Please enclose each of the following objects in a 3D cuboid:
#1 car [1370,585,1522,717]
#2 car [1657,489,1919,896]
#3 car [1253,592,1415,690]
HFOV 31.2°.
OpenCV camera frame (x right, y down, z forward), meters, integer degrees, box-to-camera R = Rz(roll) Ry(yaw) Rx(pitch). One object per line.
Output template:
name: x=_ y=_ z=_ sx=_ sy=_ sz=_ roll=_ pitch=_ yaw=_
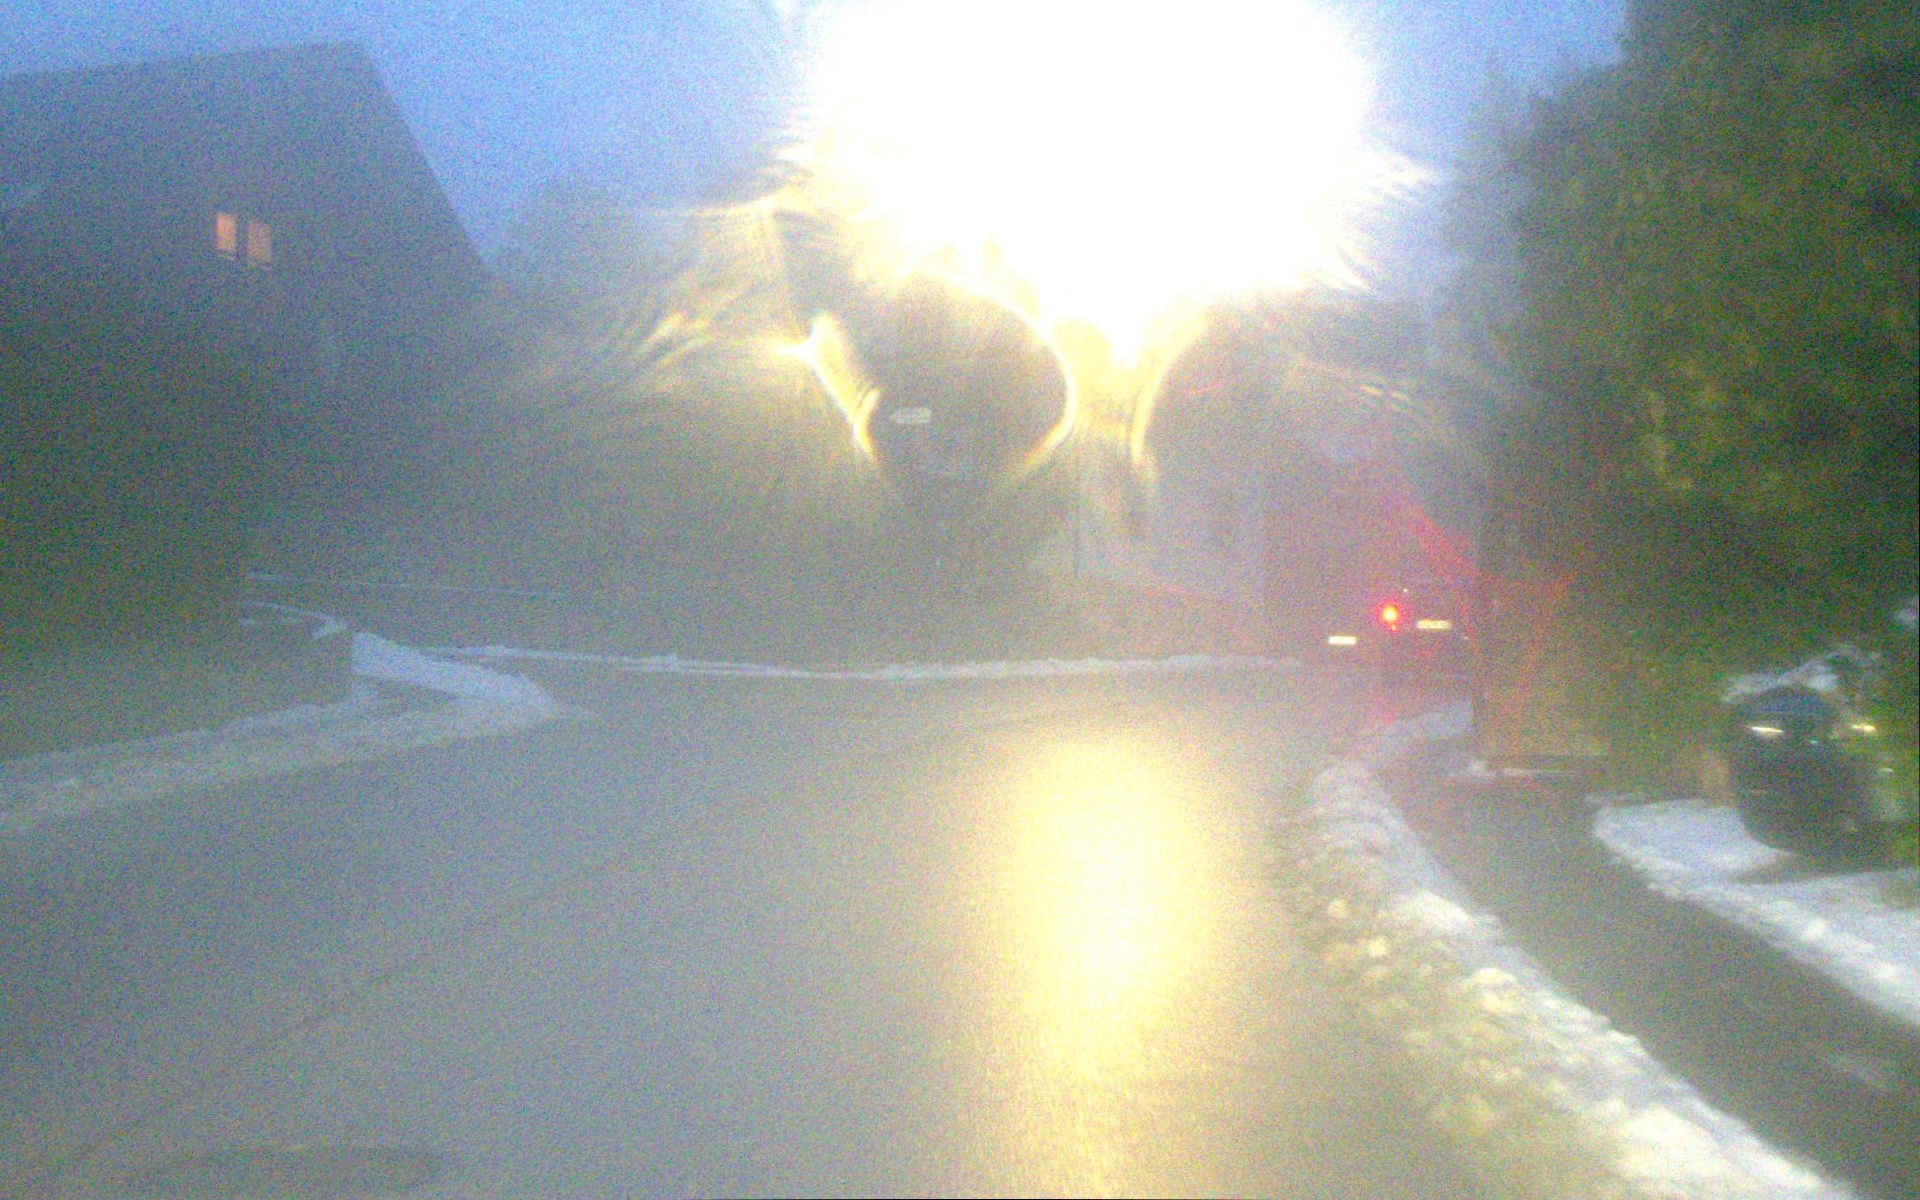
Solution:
car: x=7.046 y=0.772 z=49.544 sx=1.994 sy=1.731 sz=3.876 roll=-2 pitch=-3 yaw=10
car: x=5.353 y=0.348 z=15.387 sx=3.986 sy=1.684 sz=1.844 roll=-1 pitch=0 yaw=-4
car: x=6.966 y=0.785 z=63.707 sx=1.995 sy=1.645 sz=3.995 roll=-3 pitch=-3 yaw=21
